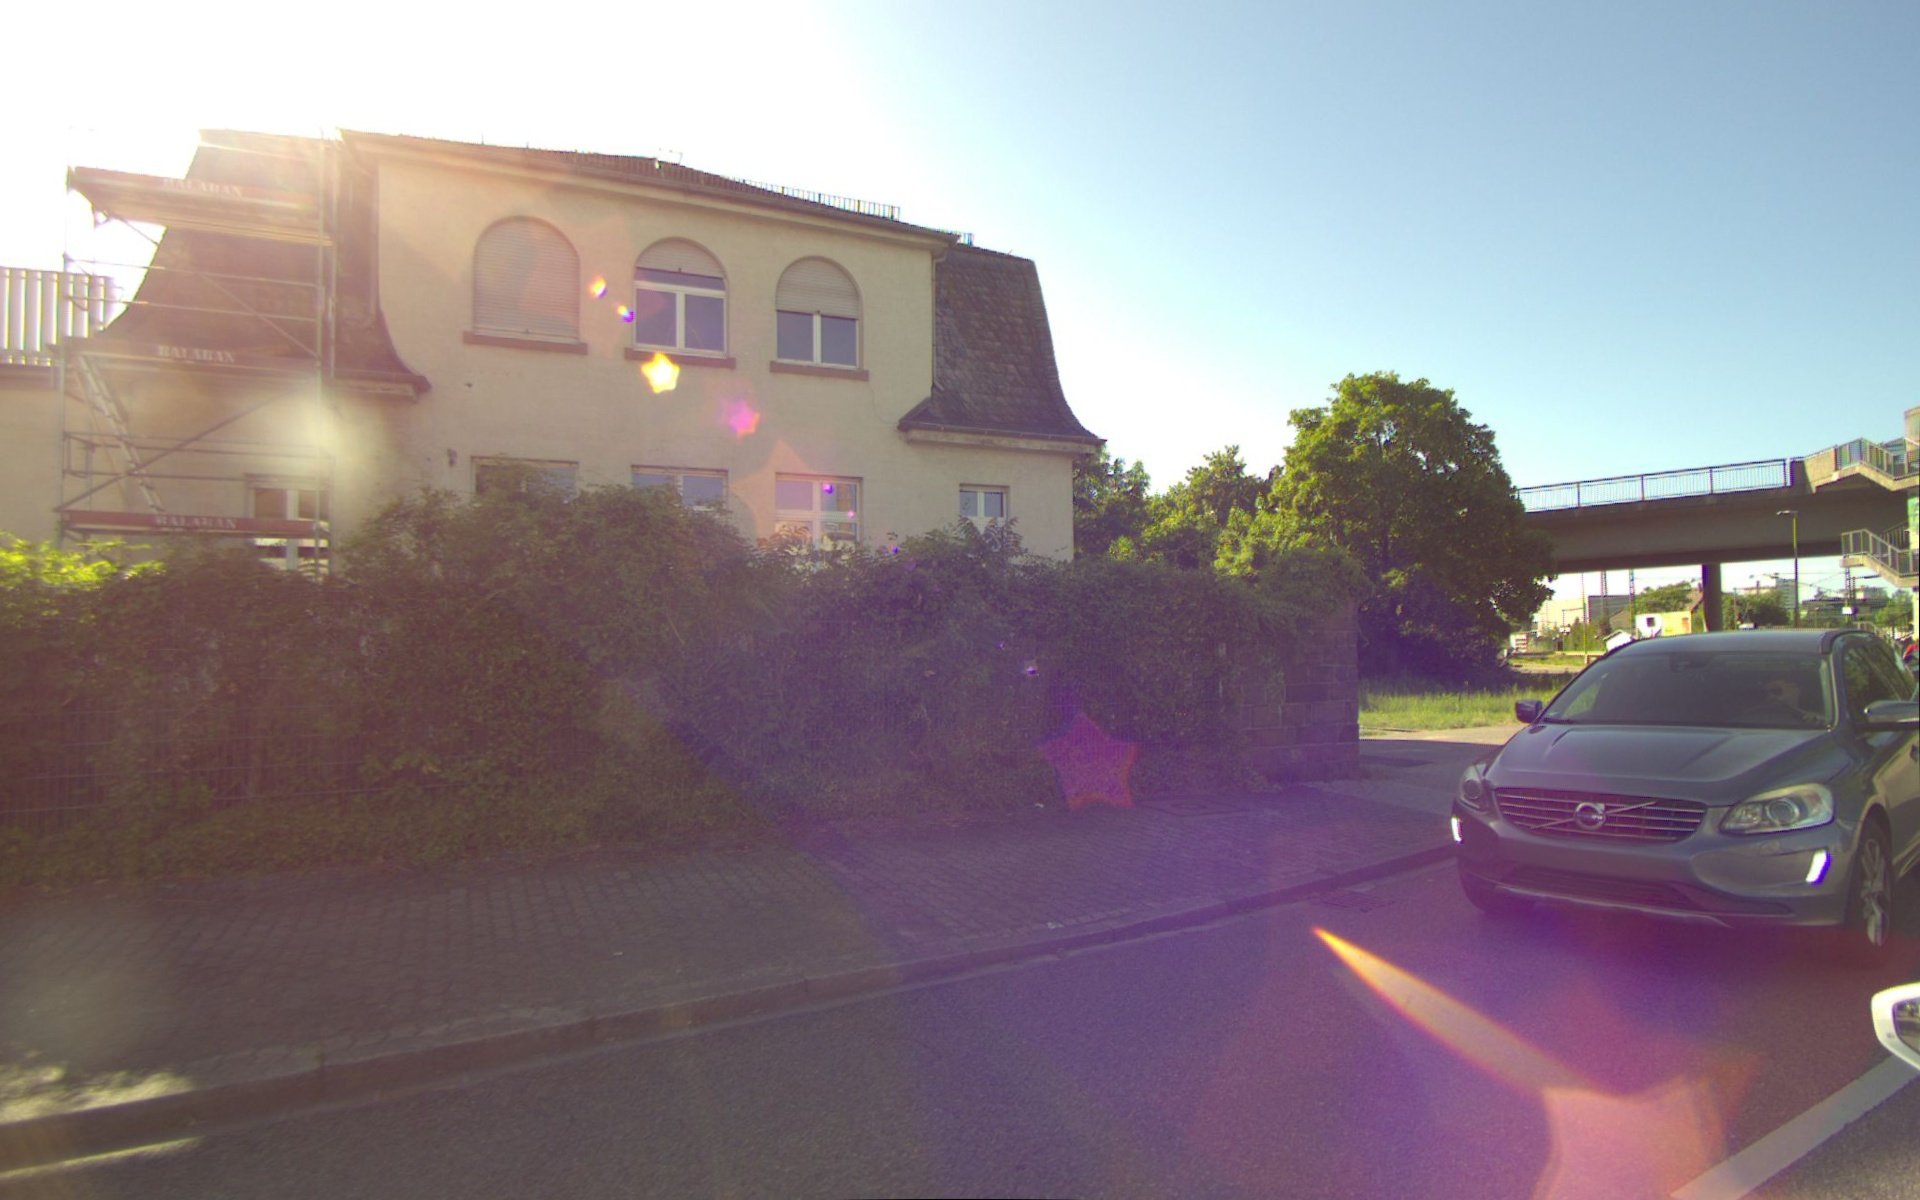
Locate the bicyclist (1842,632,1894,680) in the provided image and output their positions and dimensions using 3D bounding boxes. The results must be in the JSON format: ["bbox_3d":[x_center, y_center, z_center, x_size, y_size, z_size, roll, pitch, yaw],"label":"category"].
[{"bbox_3d":[29.193,1.811,32.303,0.826,1.508,0.924,-2,-3,15],"label":"bicyclist"}]

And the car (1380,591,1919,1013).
[{"bbox_3d":[4.788,0.972,6.360,4.528,1.717,1.978,2,-7,-40],"label":"car"}]

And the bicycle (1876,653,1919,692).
[{"bbox_3d":[27.737,2.090,29.109,0.826,1.065,2.191,-2,-3,16],"label":"bicycle"}]

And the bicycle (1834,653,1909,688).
[{"bbox_3d":[29.187,2.245,32.210,0.826,1.065,2.191,-2,-3,15],"label":"bicycle"}]

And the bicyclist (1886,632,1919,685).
[{"bbox_3d":[27.748,1.699,29.195,0.826,1.508,0.924,-2,-3,16],"label":"bicyclist"}]

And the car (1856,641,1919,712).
[{"bbox_3d":[21.434,1.620,21.528,1.911,1.508,4.564,-2,-4,23],"label":"car"}]

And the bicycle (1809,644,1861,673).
[{"bbox_3d":[37.375,2.501,42.935,0.587,1.197,2.183,-2,-3,10],"label":"bicycle"}]
